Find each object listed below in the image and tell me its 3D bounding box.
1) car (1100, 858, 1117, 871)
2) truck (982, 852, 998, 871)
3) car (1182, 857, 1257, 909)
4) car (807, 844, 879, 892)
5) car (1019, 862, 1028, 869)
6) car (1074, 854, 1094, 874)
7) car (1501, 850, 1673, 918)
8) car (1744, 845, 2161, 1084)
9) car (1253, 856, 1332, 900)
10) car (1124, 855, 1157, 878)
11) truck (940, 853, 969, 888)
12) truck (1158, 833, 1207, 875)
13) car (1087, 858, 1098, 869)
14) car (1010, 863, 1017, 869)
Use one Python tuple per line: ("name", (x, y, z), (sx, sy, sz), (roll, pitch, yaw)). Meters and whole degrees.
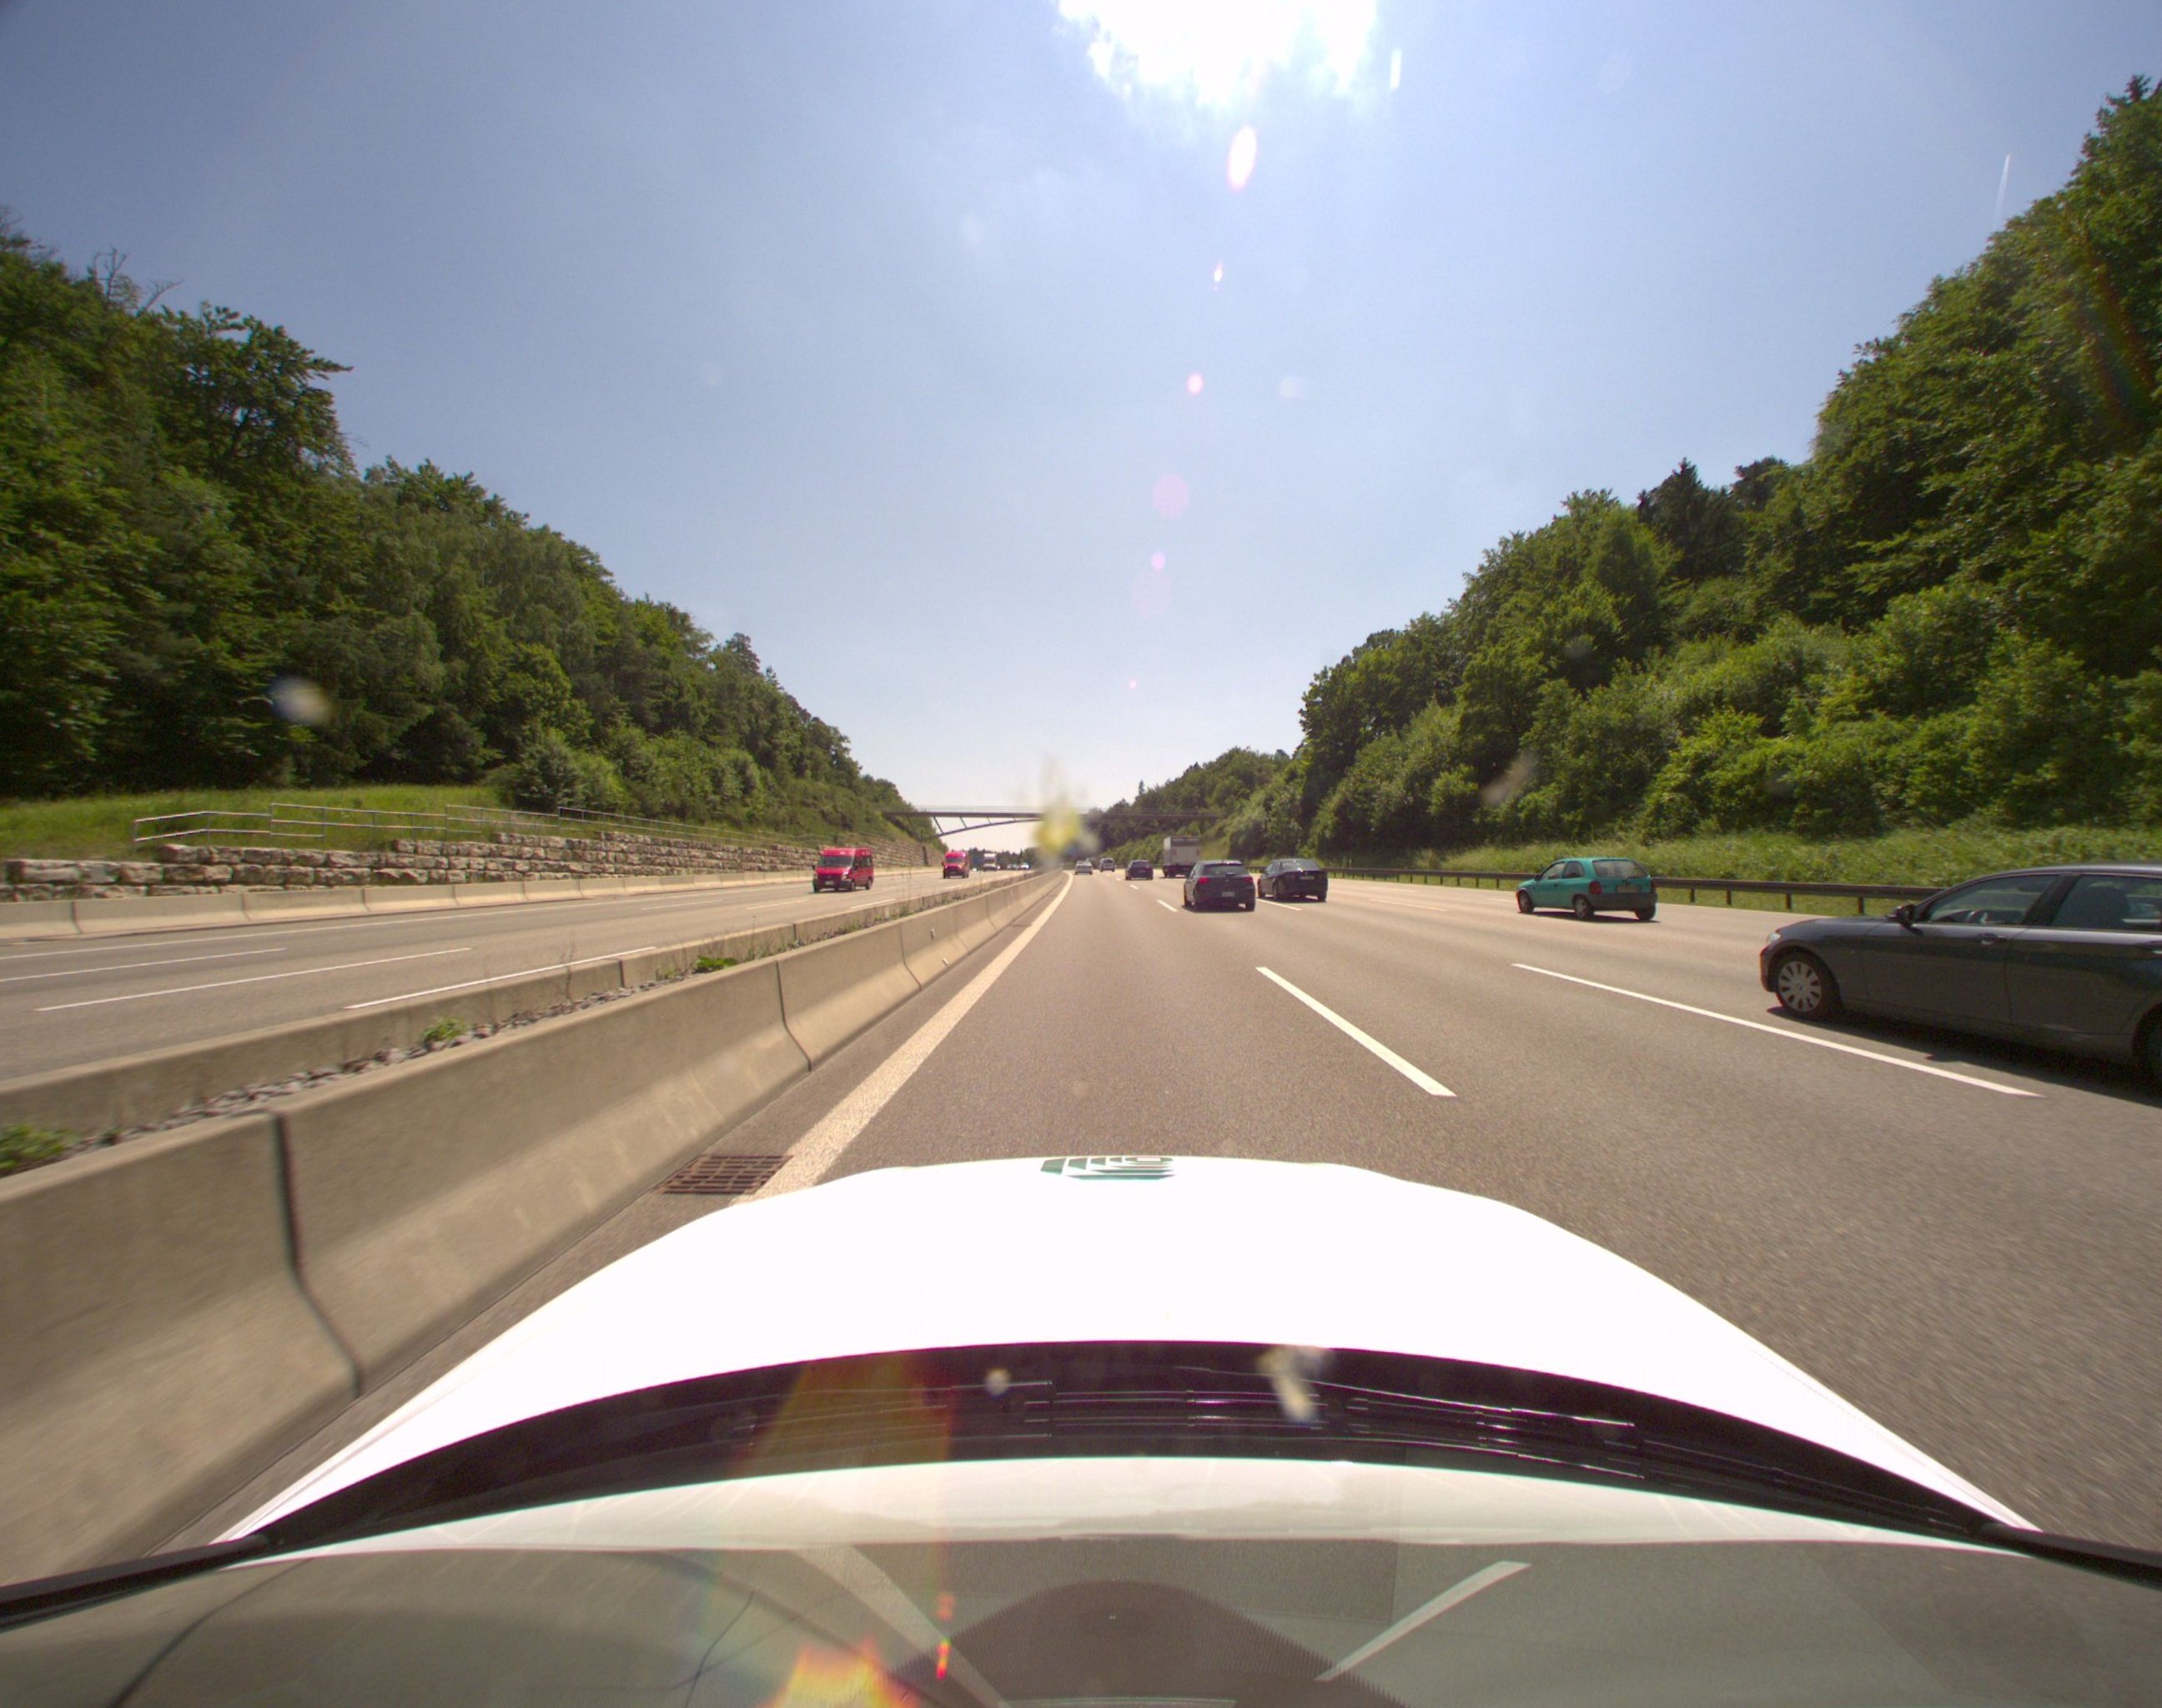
("car", (3.710, 1.418, 109.352), (2.097, 1.744, 4.686), (-1, 0, 0))
("truck", (-15.622, 1.290, 140.567), (2.270, 3.143, 6.913), (0, 0, -2))
("car", (4.051, 0.811, 24.337), (1.701, 1.433, 4.002), (0, -1, 2))
("car", (-12.406, 0.699, 42.822), (1.986, 2.336, 5.545), (-1, 0, 2))
("car", (-13.461, 2.599, 190.681), (1.896, 1.496, 4.801), (-1, 0, -2))
("car", (0.272, 1.085, 87.076), (2.007, 1.846, 3.995), (0, -4, -2))
("car", (12.013, 0.663, 19.700), (1.539, 1.444, 4.342), (-1, -1, 1))
("car", (7.155, 0.639, 5.702), (1.696, 1.396, 4.154), (-1, -1, 1))
("car", (7.363, 0.774, 28.818), (1.659, 1.408, 4.905), (-1, 0, 2))
("car", (4.304, 0.896, 59.481), (1.987, 1.634, 4.758), (-1, 0, 0))
("truck", (-11.651, 1.461, 75.509), (2.106, 2.976, 7.004), (0, 1, -4))
("truck", (8.121, 0.017, 66.208), (2.976, 3.167, 7.573), (-1, 0, 0))
("car", (2.595, 2.076, 182.823), (2.257, 2.371, 4.701), (-1, -1, 1))
("car", (-17.108, 3.085, 207.619), (1.649, 1.550, 3.996), (1, 0, -3))
